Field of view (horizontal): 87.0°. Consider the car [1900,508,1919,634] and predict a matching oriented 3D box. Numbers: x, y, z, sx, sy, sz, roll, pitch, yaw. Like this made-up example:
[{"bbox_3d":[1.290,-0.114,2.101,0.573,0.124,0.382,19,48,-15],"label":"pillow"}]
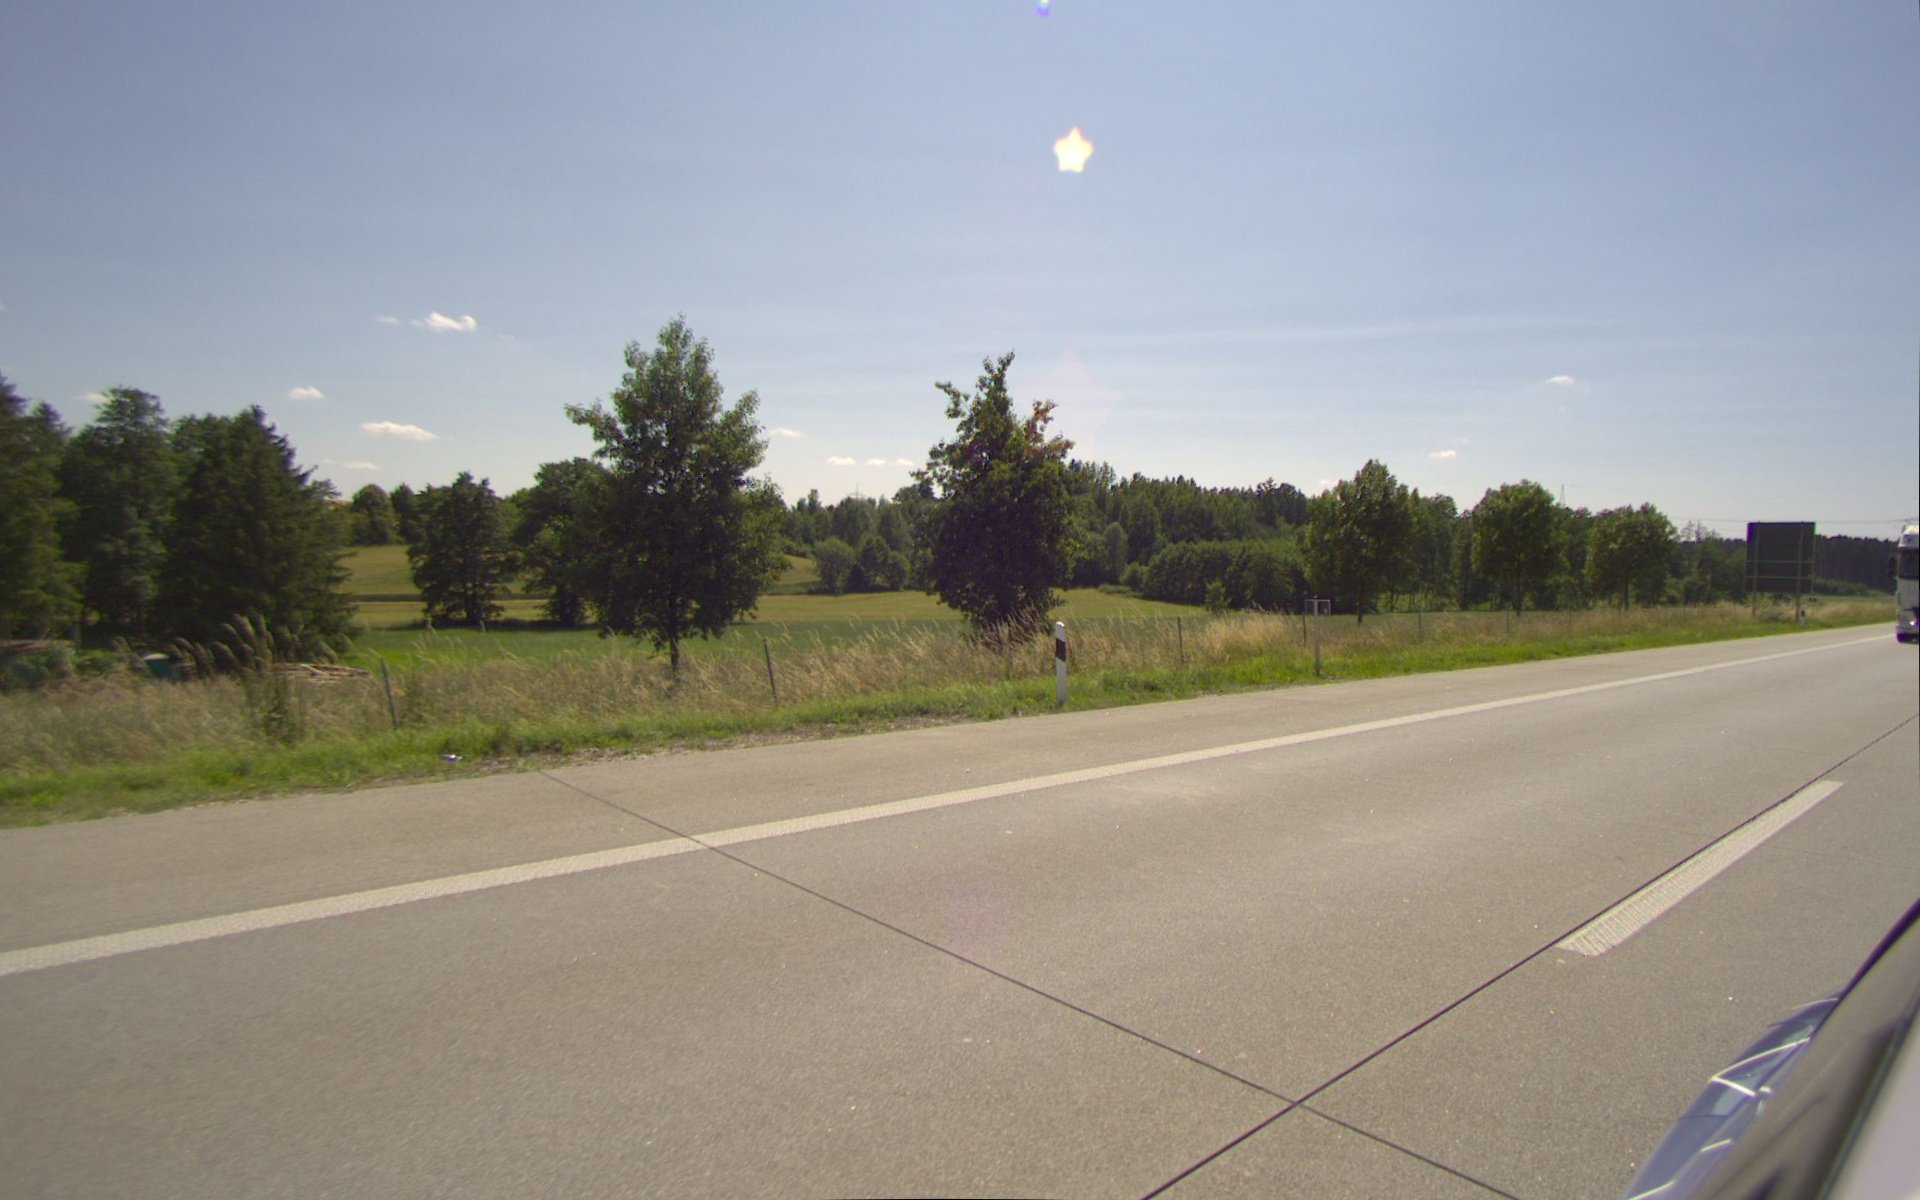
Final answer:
[{"bbox_3d":[35.924,-0.961,35.787,10.662,4.103,2.764,0,1,-41],"label":"car"}]
